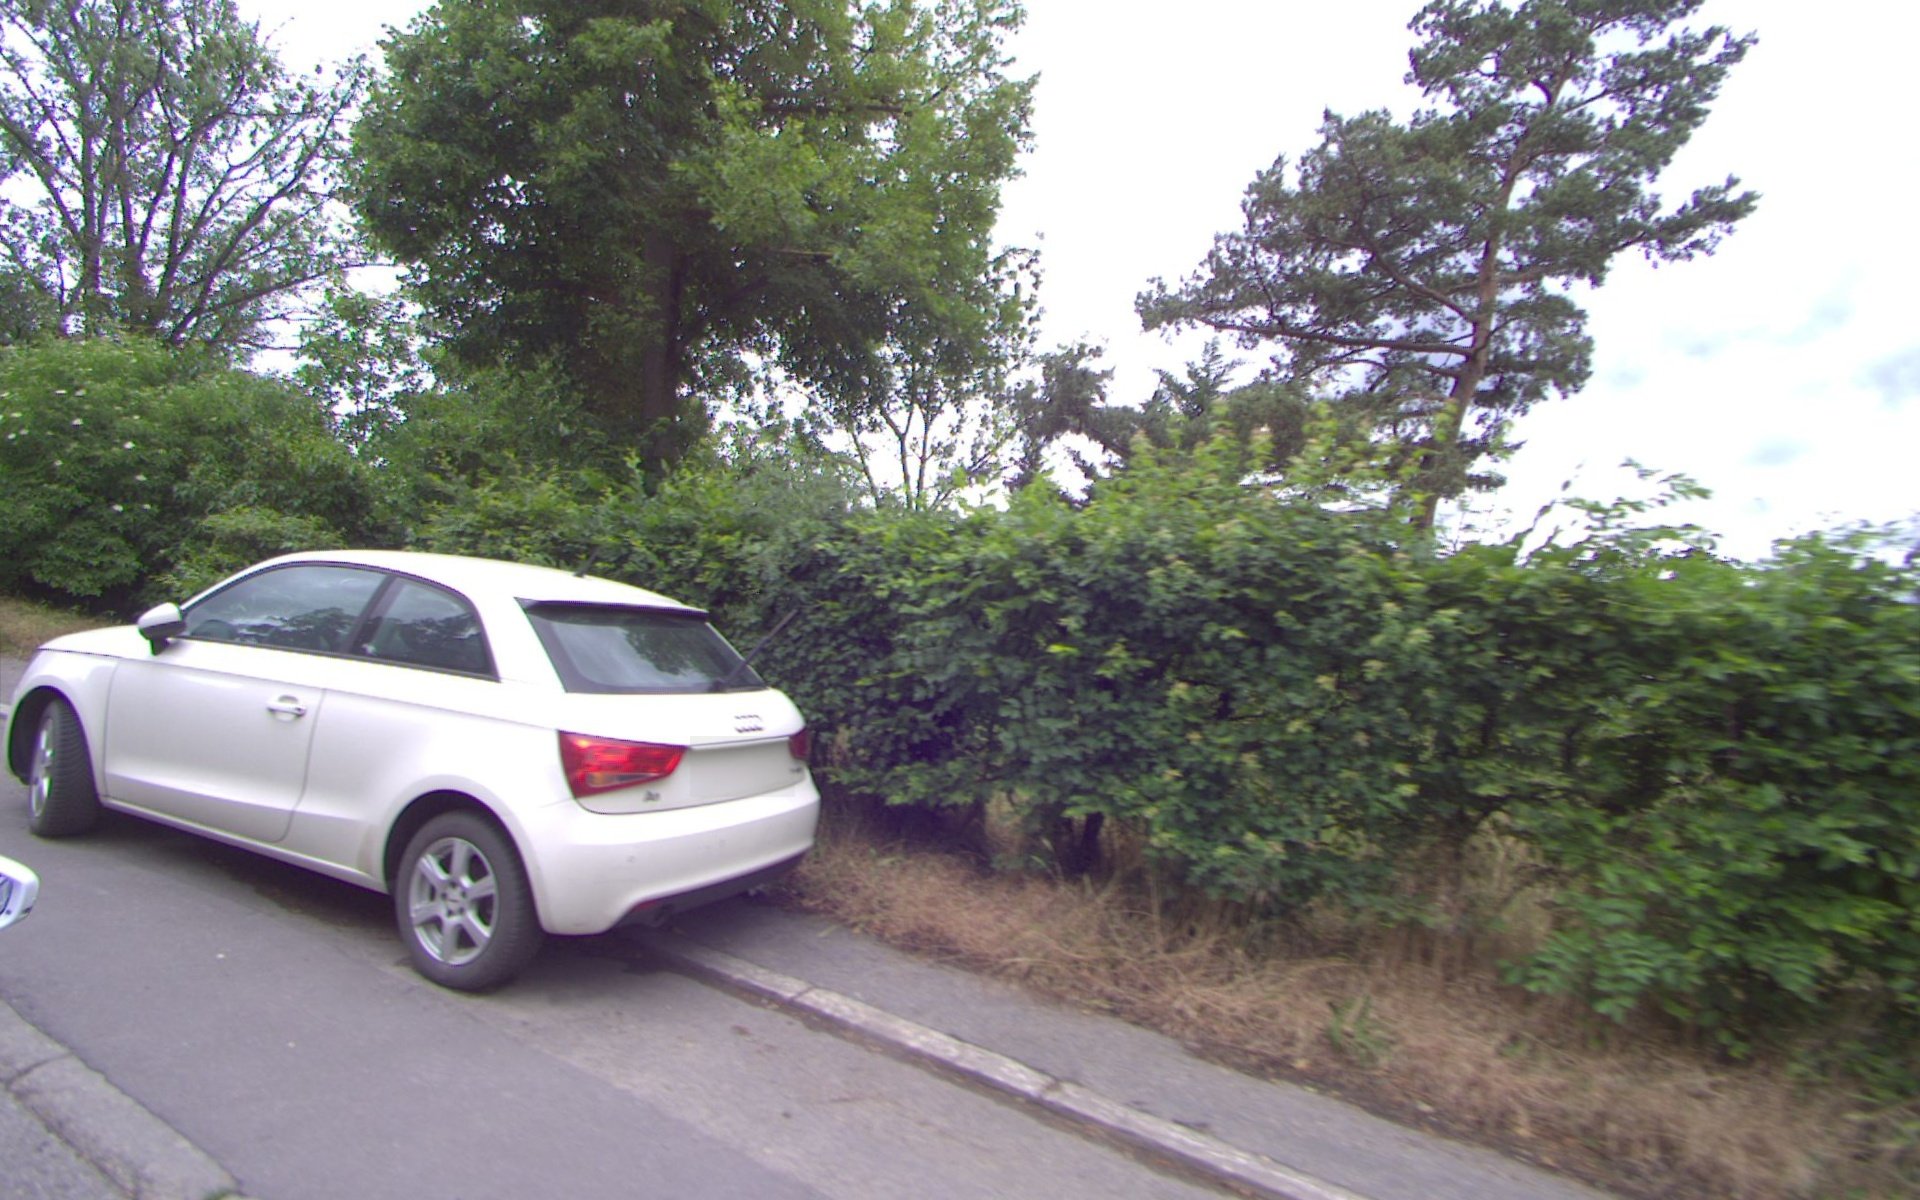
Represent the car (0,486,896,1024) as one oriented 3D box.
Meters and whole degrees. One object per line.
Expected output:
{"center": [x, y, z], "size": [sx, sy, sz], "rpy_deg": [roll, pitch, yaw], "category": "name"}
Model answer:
{"center": [-2.513, 0.426, 4.664], "size": [3.927, 1.436, 1.782], "rpy_deg": [7, 0, 22], "category": "car"}
